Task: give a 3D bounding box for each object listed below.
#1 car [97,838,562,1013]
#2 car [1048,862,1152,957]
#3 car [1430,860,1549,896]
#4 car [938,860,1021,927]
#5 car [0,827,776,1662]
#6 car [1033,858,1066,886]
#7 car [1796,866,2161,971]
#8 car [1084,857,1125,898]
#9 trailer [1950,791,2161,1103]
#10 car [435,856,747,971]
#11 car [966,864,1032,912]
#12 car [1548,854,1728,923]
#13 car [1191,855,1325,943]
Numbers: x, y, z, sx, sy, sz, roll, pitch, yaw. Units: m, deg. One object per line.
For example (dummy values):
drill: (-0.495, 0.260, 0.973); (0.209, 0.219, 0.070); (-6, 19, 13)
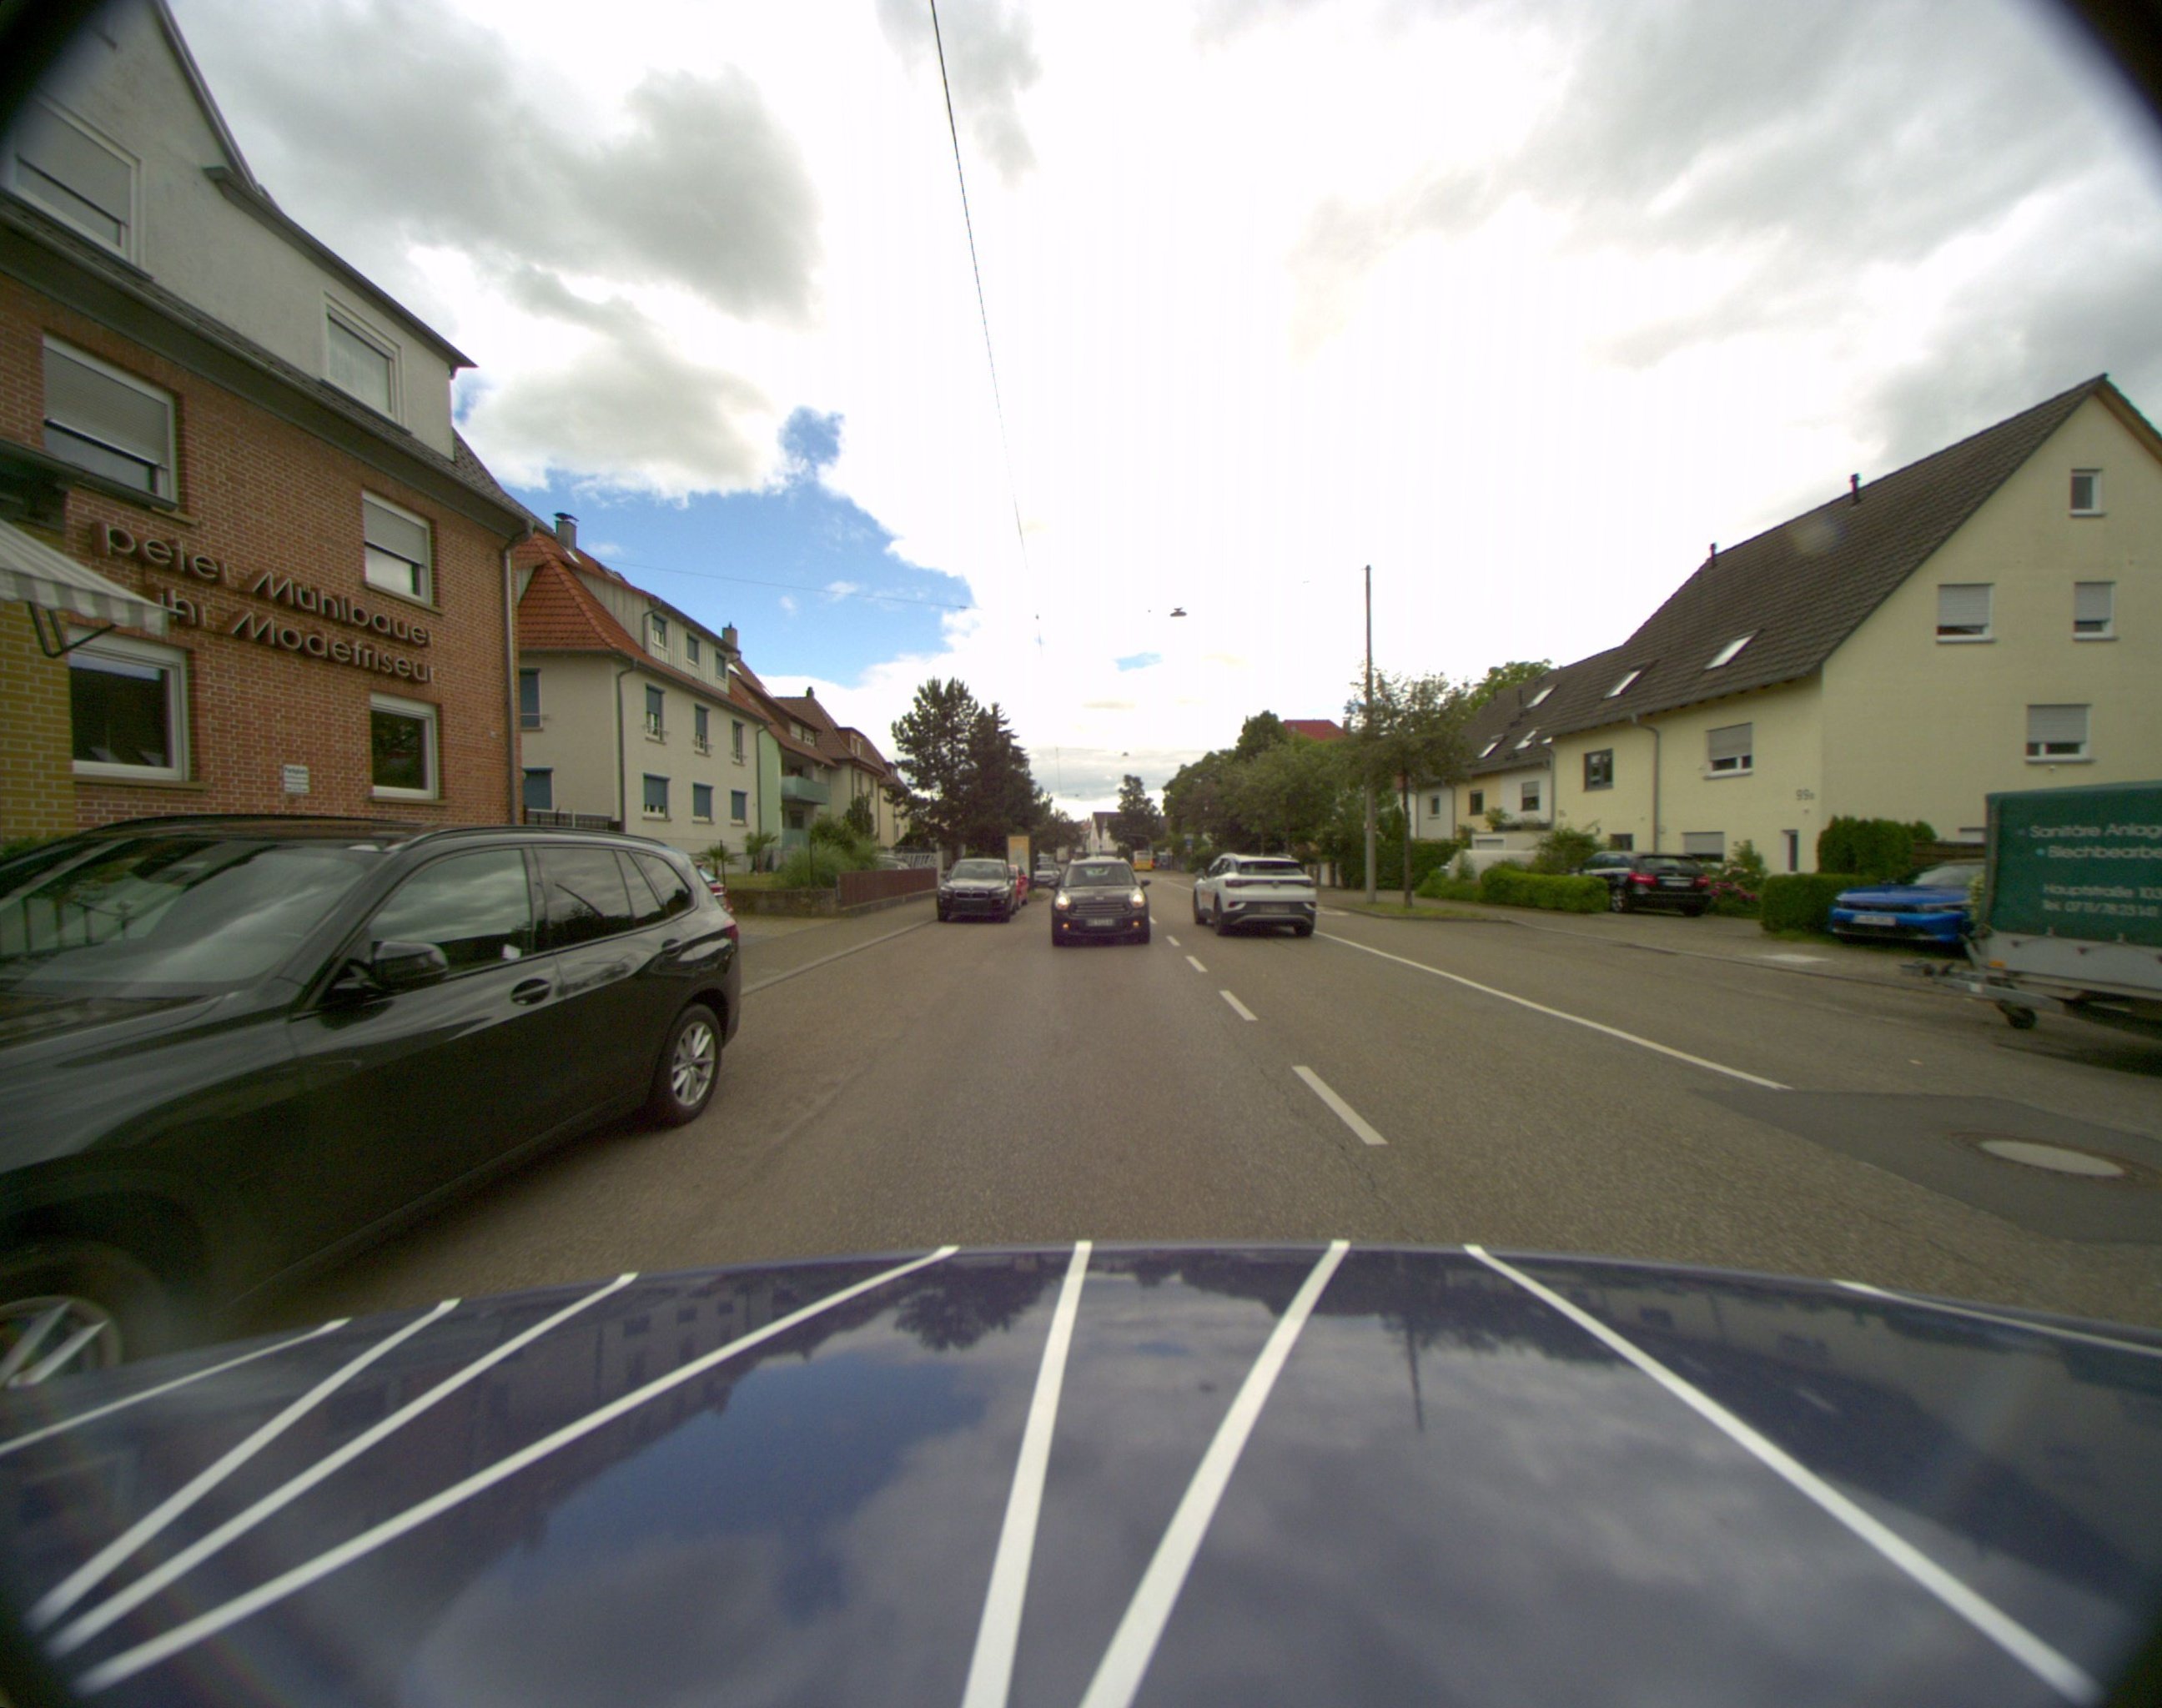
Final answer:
car: (-7.969, 0.728, 8.340); (3.361, 1.624, 1.579); (2, 0, -4)
car: (0.363, 0.952, 14.610); (1.743, 1.573, 3.685); (0, 0, 1)
car: (15.265, 0.874, 28.515); (3.561, 1.263, 1.703); (0, 0, -2)
car: (-2.608, 0.963, 20.398); (1.728, 1.582, 4.156); (1, 0, -1)
car: (-3.256, 0.845, 3.094); (1.902, 1.826, 4.915); (1, 0, 2)
car: (-1.781, 1.005, 43.795); (1.680, 1.573, 3.685); (0, 0, 1)
car: (13.269, 0.884, 11.192); (3.998, 1.363, 1.728); (0, 0, -4)
car: (0.944, 0.926, 31.401); (1.590, 1.598, 3.685); (0, 0, 1)
trailer: (8.274, 0.608, 4.080); (2.160, 2.076, 4.425); (0, 0, 0)
car: (-6.965, 0.823, 11.143); (3.362, 1.450, 1.748); (2, 0, -7)
car: (-2.608, 1.056, 24.962); (1.680, 1.414, 3.685); (0, 0, 1)
car: (13.751, 0.780, 19.089); (1.752, 1.513, 3.916); (1, 0, 3)
car: (3.519, 0.822, 15.930); (1.826, 1.594, 4.299); (0, 0, 0)
